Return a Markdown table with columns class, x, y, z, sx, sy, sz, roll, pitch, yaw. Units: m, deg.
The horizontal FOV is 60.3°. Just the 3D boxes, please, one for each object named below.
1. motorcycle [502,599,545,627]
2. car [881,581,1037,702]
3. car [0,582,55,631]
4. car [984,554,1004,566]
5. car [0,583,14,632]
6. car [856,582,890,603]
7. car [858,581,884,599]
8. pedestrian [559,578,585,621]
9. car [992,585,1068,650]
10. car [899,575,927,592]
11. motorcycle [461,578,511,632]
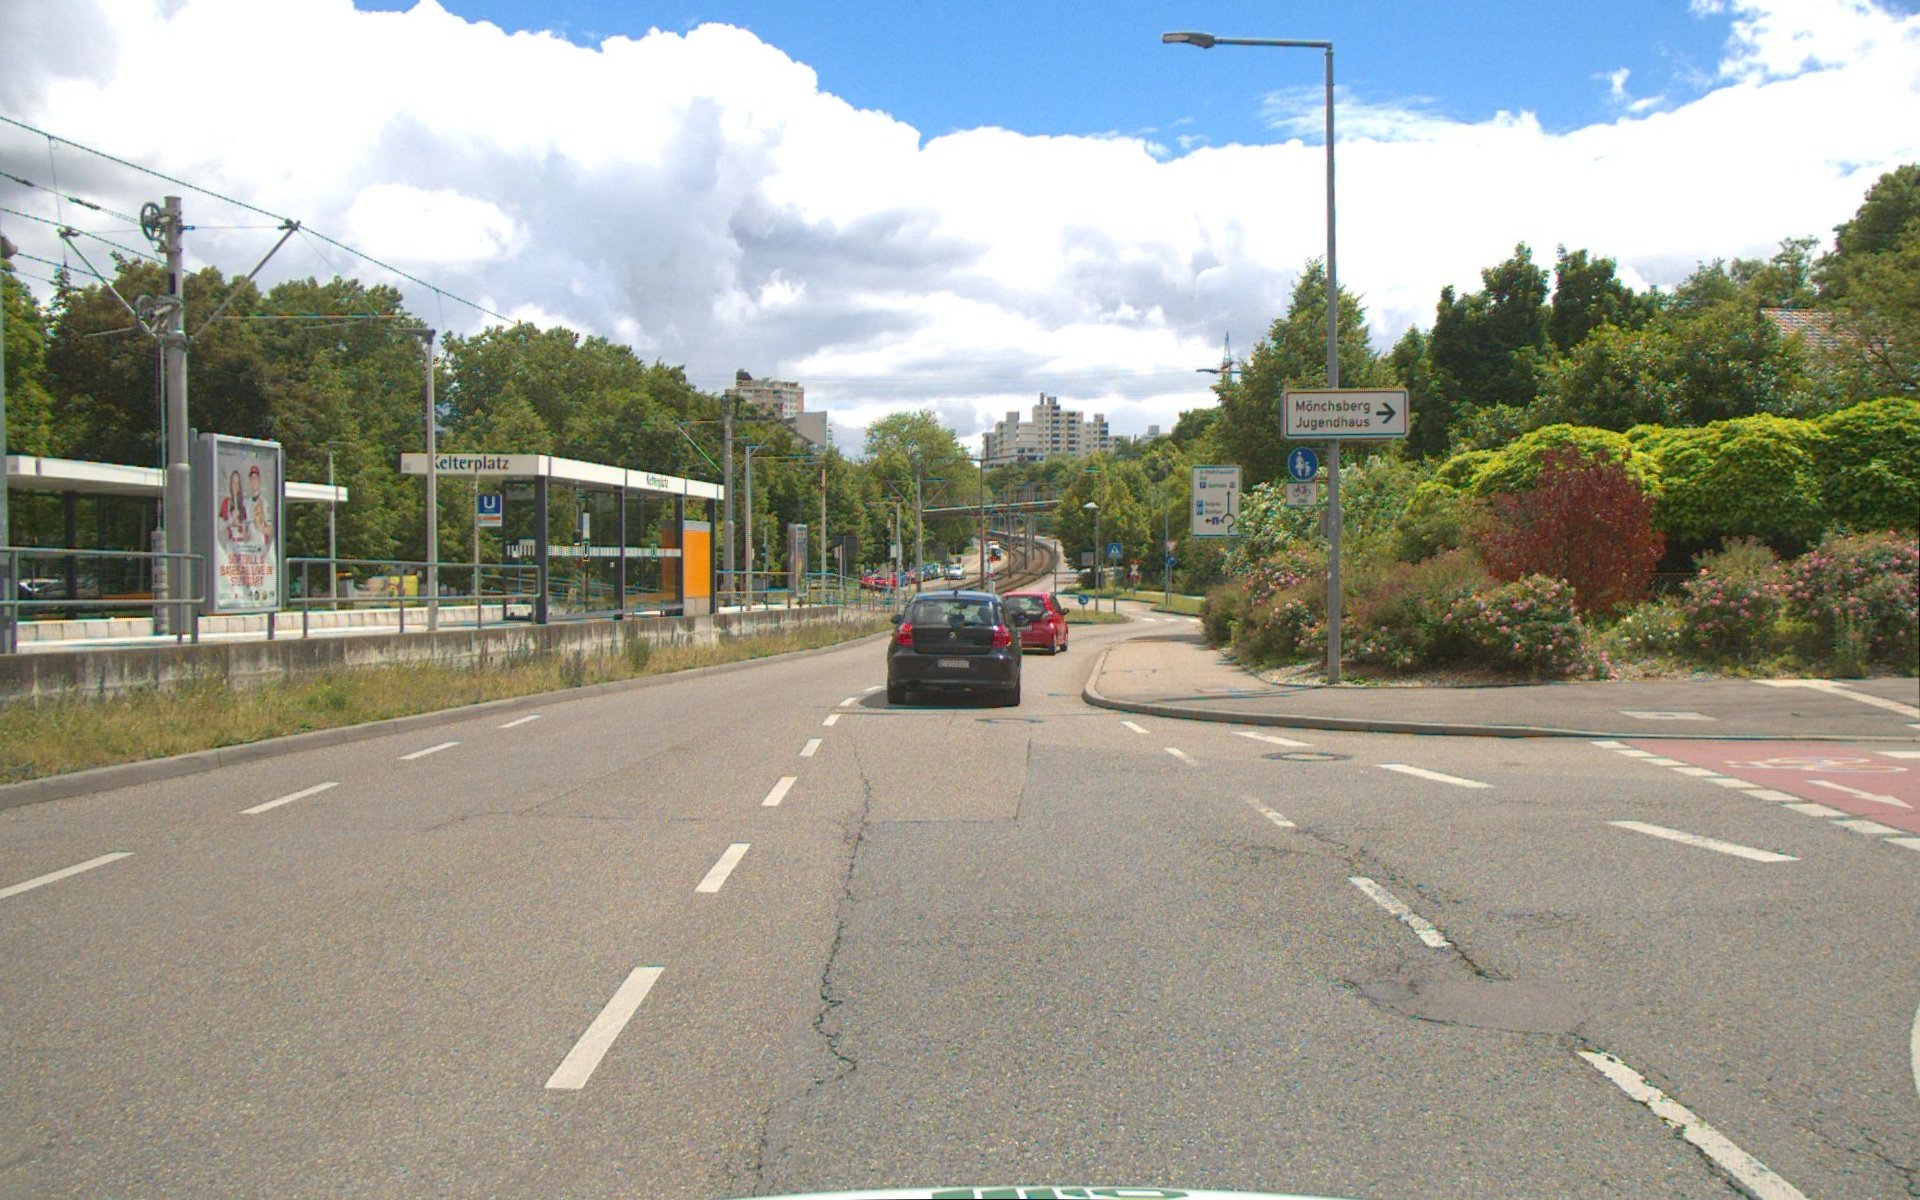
| class | x | y | z | sx | sy | sz | roll | pitch | yaw |
| --- | --- | --- | --- | --- | --- | --- | --- | --- | --- |
| motorcycle | -17.746 | 0.525 | 67.308 | 0.714 | 1.100 | 2.217 | 0 | 1 | 14 |
| car | 0.073 | 0.519 | 22.038 | 1.777 | 1.445 | 4.002 | -1 | -1 | 4 |
| car | -35.559 | 0.222 | 60.425 | 3.902 | 1.713 | 1.976 | 0 | 2 | 6 |
| car | 4.776 | -5.589 | 231.269 | 1.951 | 1.625 | 4.424 | 0 | 1 | 11 |
| car | -35.613 | 0.283 | 58.117 | 3.559 | 1.735 | 2.055 | 0 | 2 | 6 |
| car | -6.553 | -0.602 | 125.138 | 1.683 | 1.529 | 2.969 | 0 | 1 | 17 |
| car | -7.173 | -0.779 | 133.162 | 1.496 | 1.394 | 3.600 | 0 | 1 | 7 |
| pedestrian | -19.030 | -0.040 | 81.099 | 0.941 | 2.048 | 0.821 | 0 | 2 | 25 |
| car | 1.649 | 0.399 | 39.889 | 1.729 | 1.457 | 3.479 | -1 | 0 | 1 |
| car | -4.373 | -1.535 | 154.341 | 1.871 | 1.588 | 4.004 | 0 | 1 | 9 |
| motorcycle | -18.339 | 0.196 | 64.033 | 0.816 | 2.049 | 1.983 | 0 | 0 | 20 |
